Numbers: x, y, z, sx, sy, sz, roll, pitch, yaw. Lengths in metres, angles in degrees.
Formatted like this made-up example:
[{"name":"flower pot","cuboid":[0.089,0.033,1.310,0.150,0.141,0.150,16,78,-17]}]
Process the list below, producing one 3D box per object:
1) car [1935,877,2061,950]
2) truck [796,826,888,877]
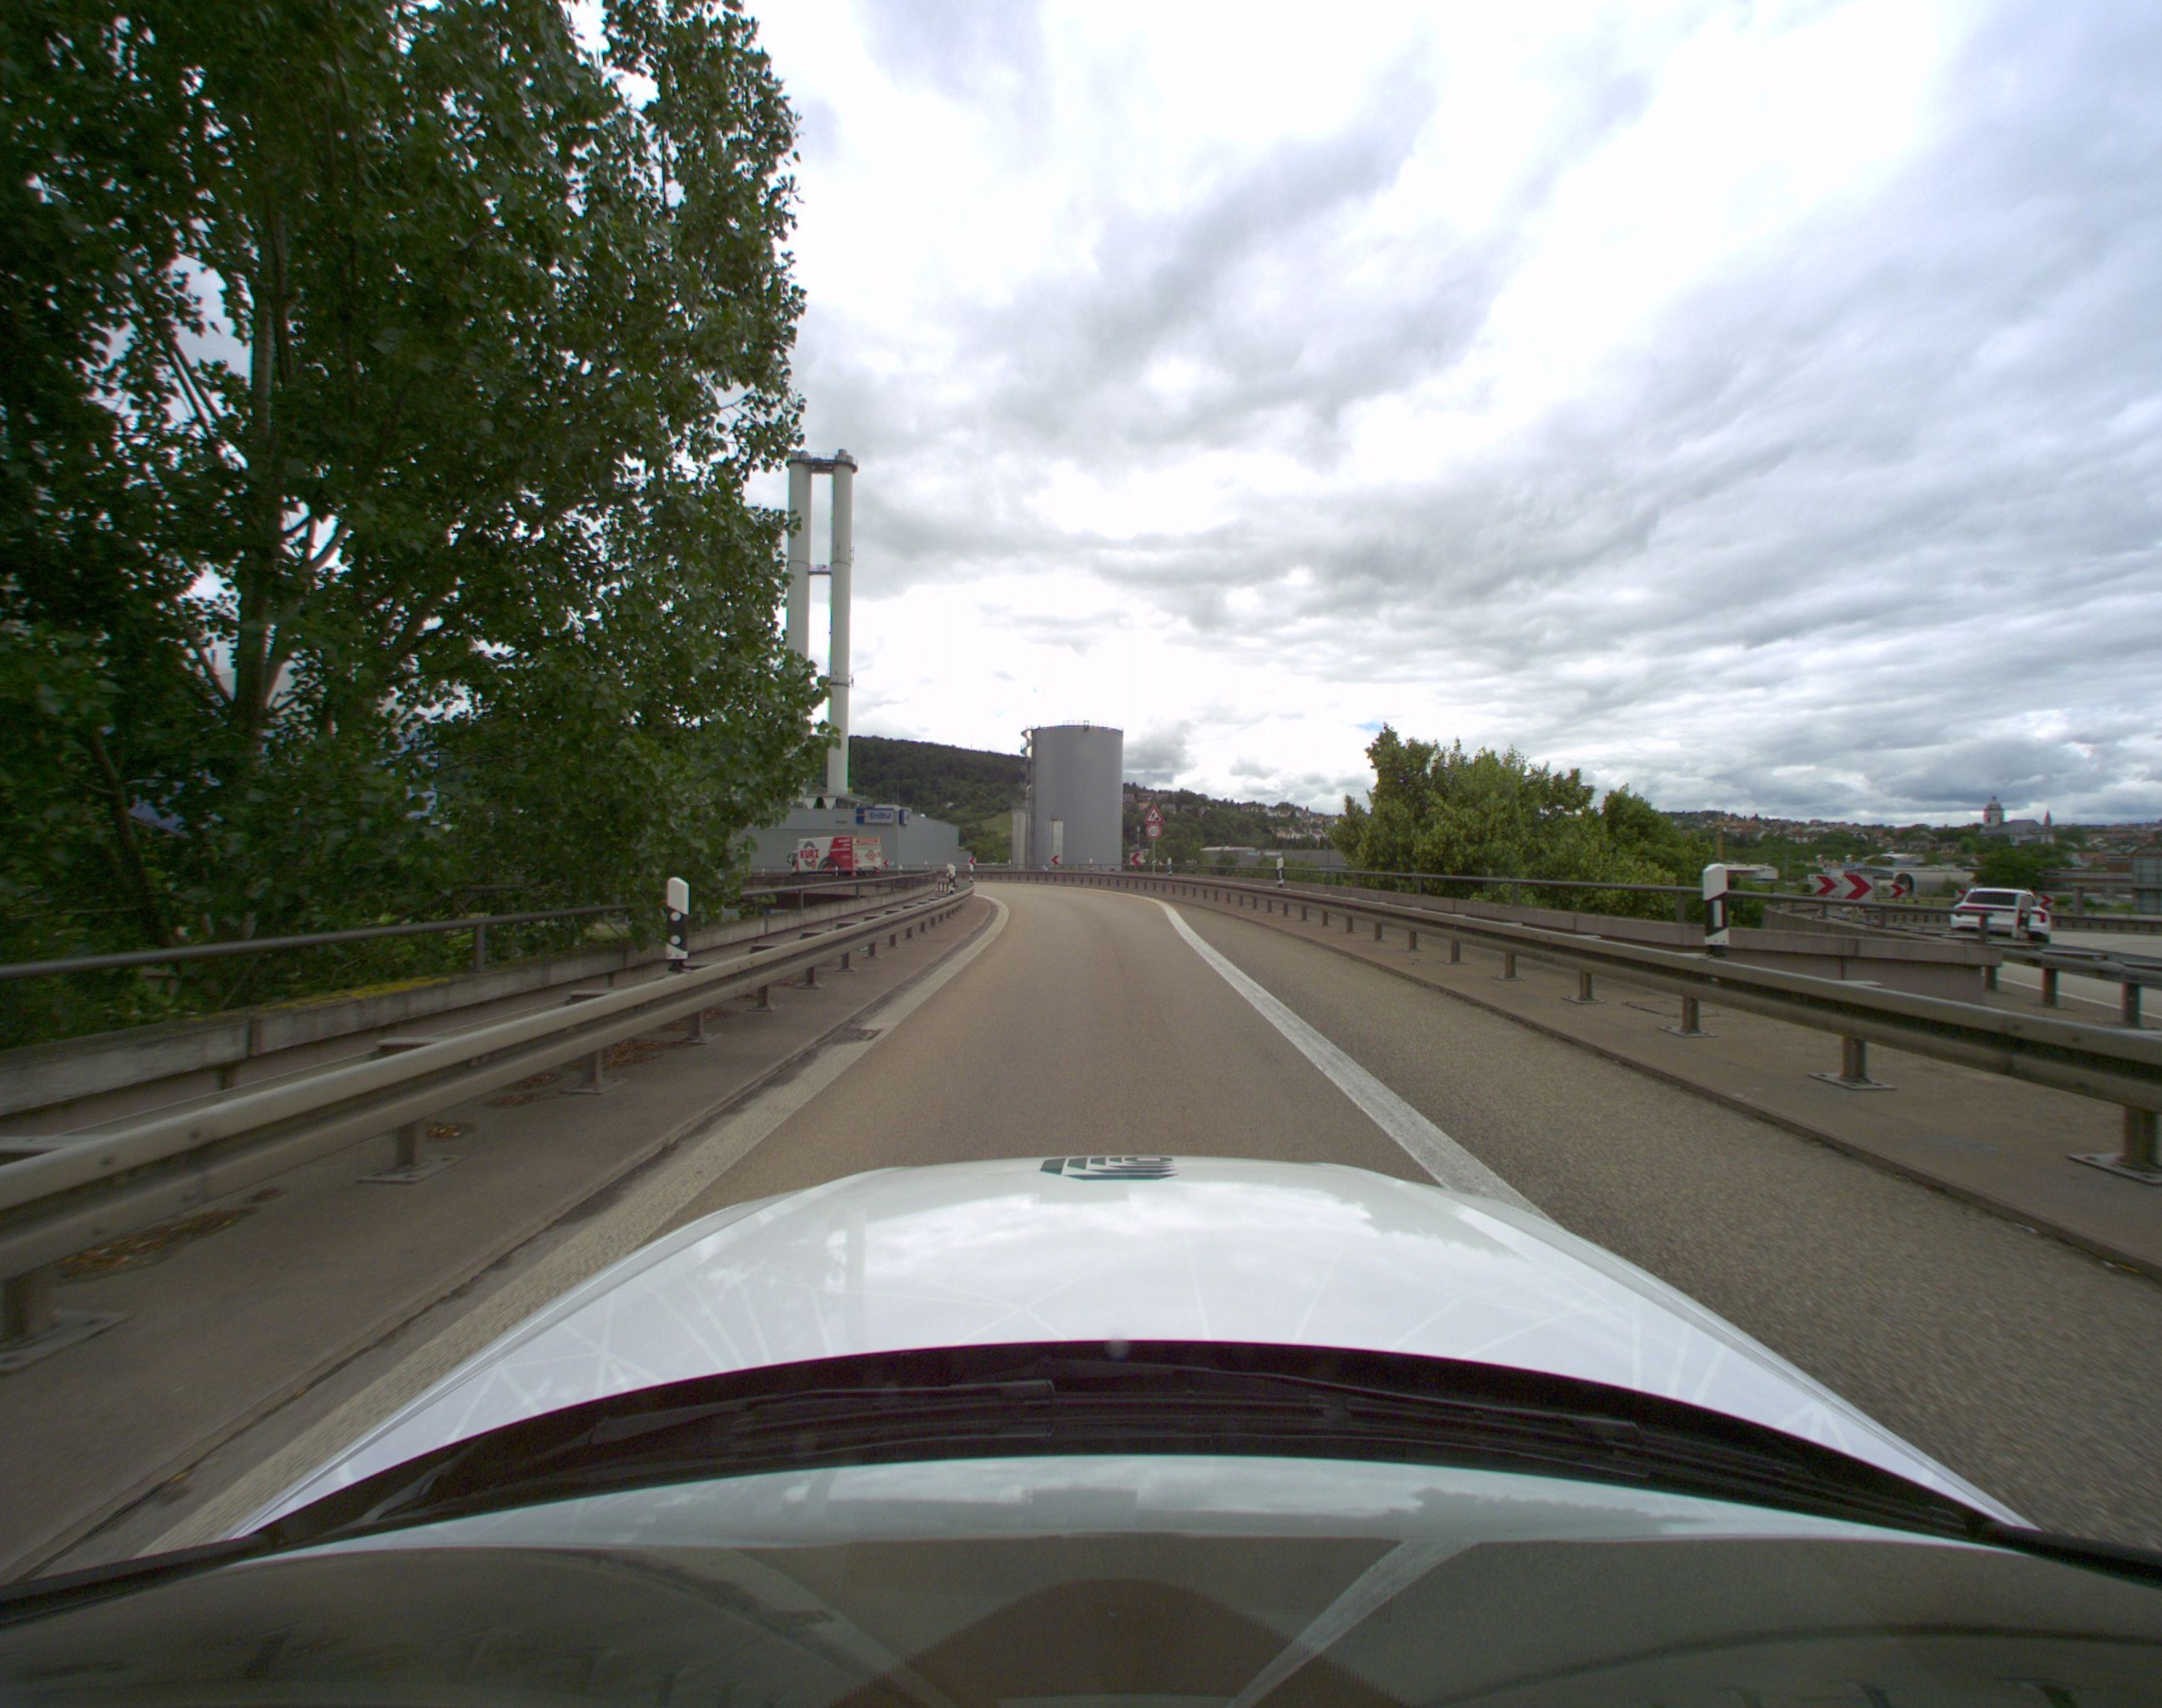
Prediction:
[{"name":"car","cuboid":[26.844,1.653,23.982,1.975,1.780,4.024,3,2,42]},{"name":"truck","cuboid":[-18.368,-0.151,62.204,7.826,3.673,3.079,-1,-1,42]}]
